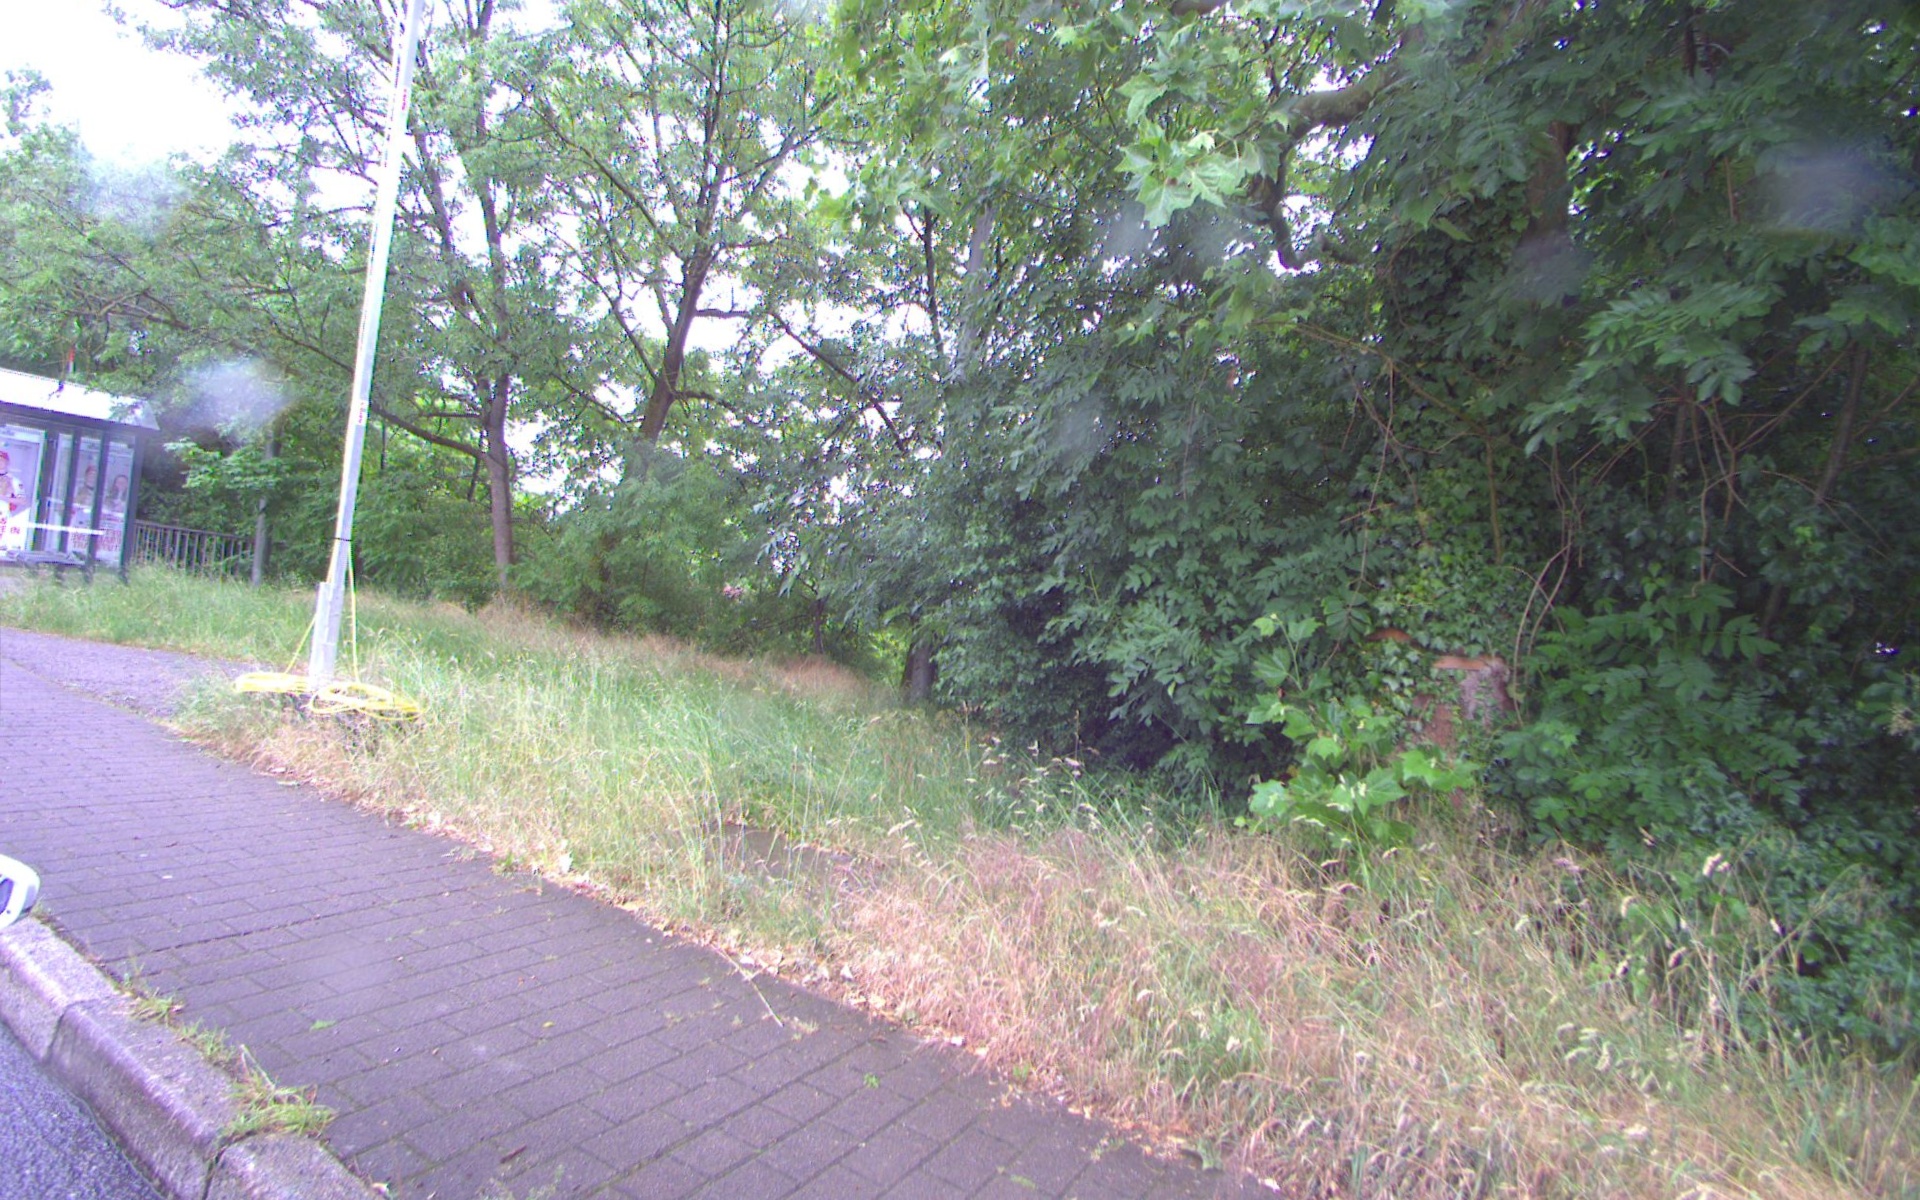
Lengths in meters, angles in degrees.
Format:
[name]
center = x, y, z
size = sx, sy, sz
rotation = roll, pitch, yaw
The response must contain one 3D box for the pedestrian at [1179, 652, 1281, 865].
[pedestrian]
center = 2.423, 1.393, 9.083
size = 0.655, 1.761, 0.685
rotation = 7, 0, 14
